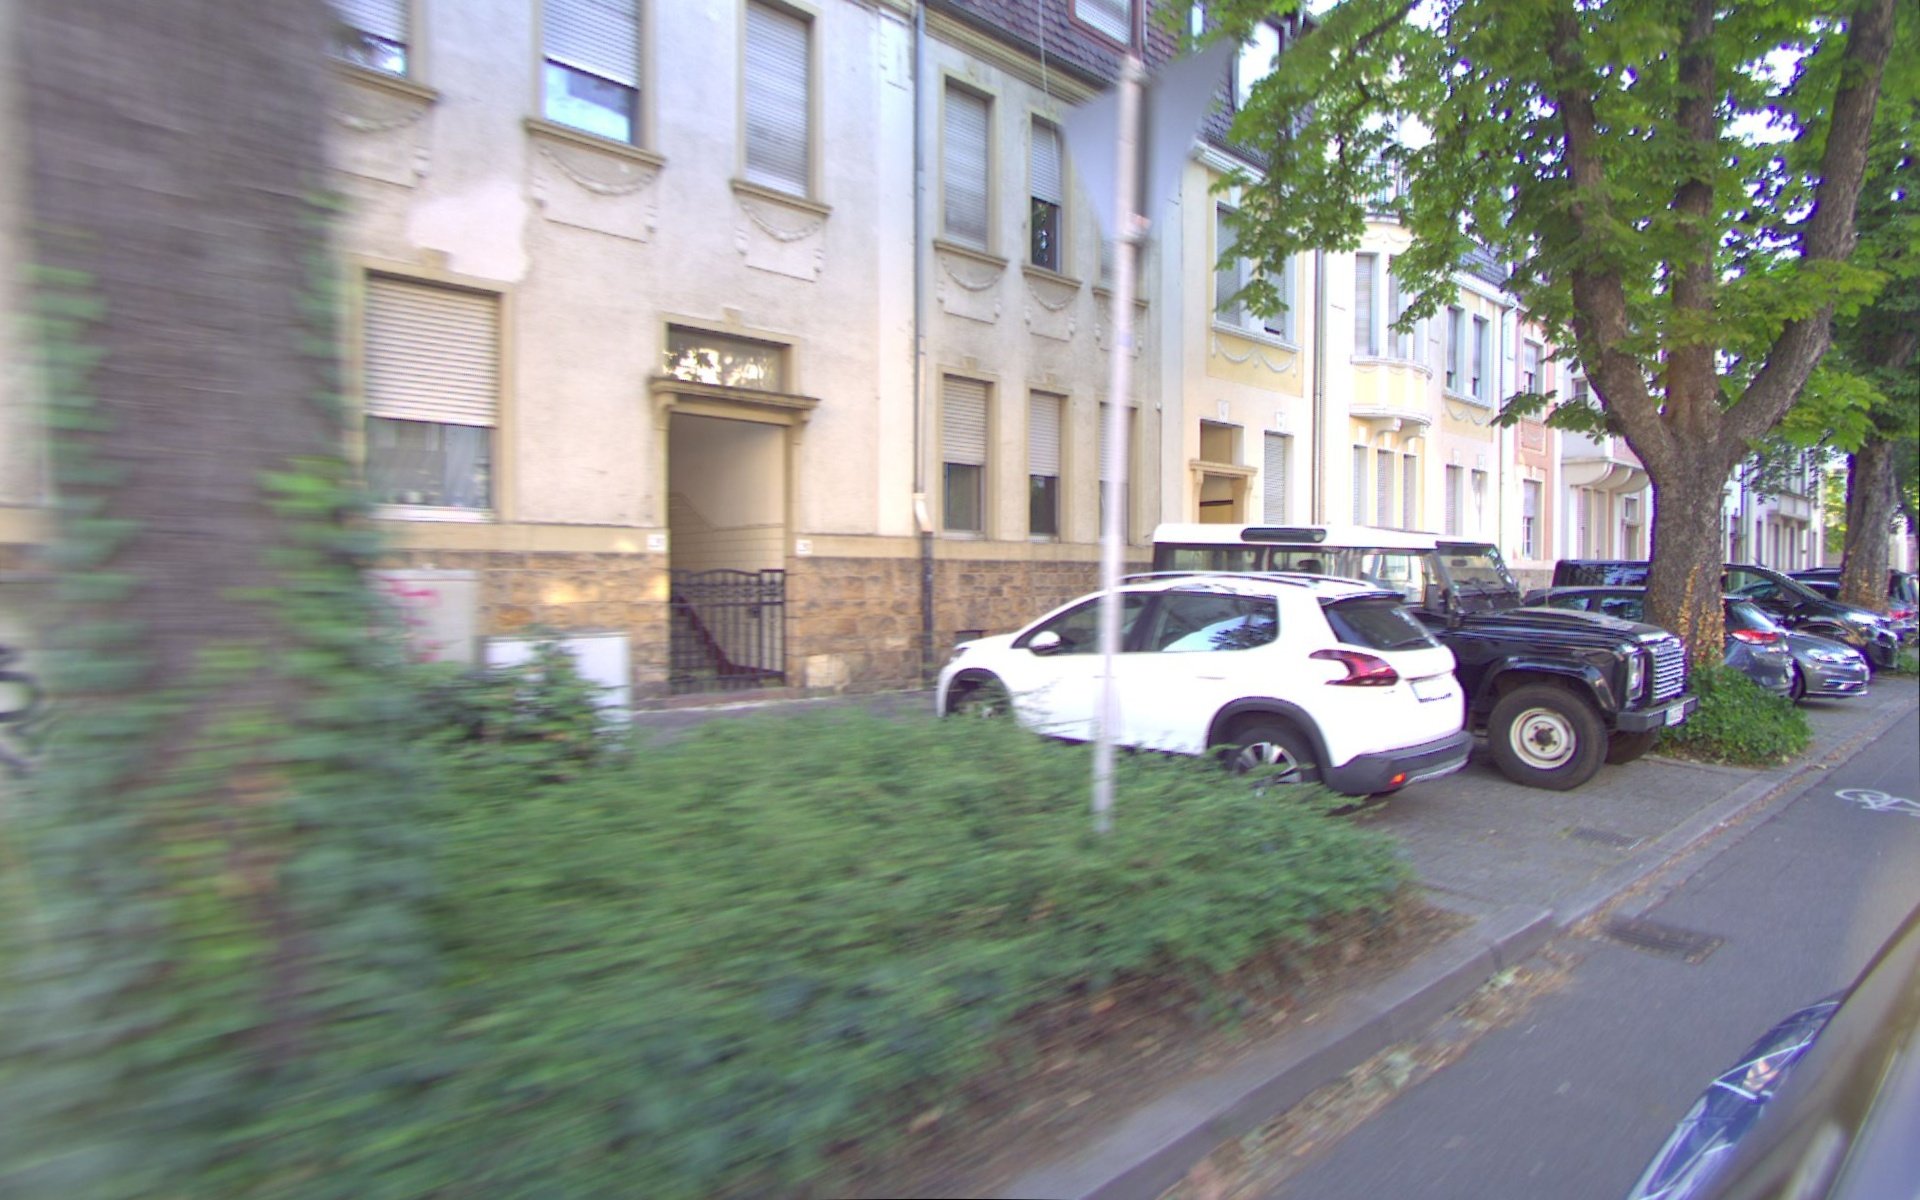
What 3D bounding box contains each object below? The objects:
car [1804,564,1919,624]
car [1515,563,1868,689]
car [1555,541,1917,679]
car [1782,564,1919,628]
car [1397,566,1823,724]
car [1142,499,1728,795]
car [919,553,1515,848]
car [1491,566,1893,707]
[{"bbox_3d":[30.828,-0.200,33.146,1.967,1.897,4.702,-1,1,-43],"label":"car"},{"bbox_3d":[11.336,0.323,15.887,1.967,1.709,4.201,-1,1,-43],"label":"car"},{"bbox_3d":[13.165,0.120,17.411,1.967,2.039,4.702,-1,1,-43],"label":"car"},{"bbox_3d":[28.773,-0.148,31.537,1.967,1.897,4.702,-1,1,-43],"label":"car"},{"bbox_3d":[8.027,0.445,12.784,1.940,1.649,4.201,-1,1,-43],"label":"car"},{"bbox_3d":[3.938,0.194,9.066,1.730,2.008,4.428,-4,5,-41],"label":"car"},{"bbox_3d":[1.637,0.472,7.524,1.656,1.595,4.040,0,2,-43],"label":"car"},{"bbox_3d":[9.908,0.388,13.925,1.967,1.627,4.201,-2,1,-43],"label":"car"}]
